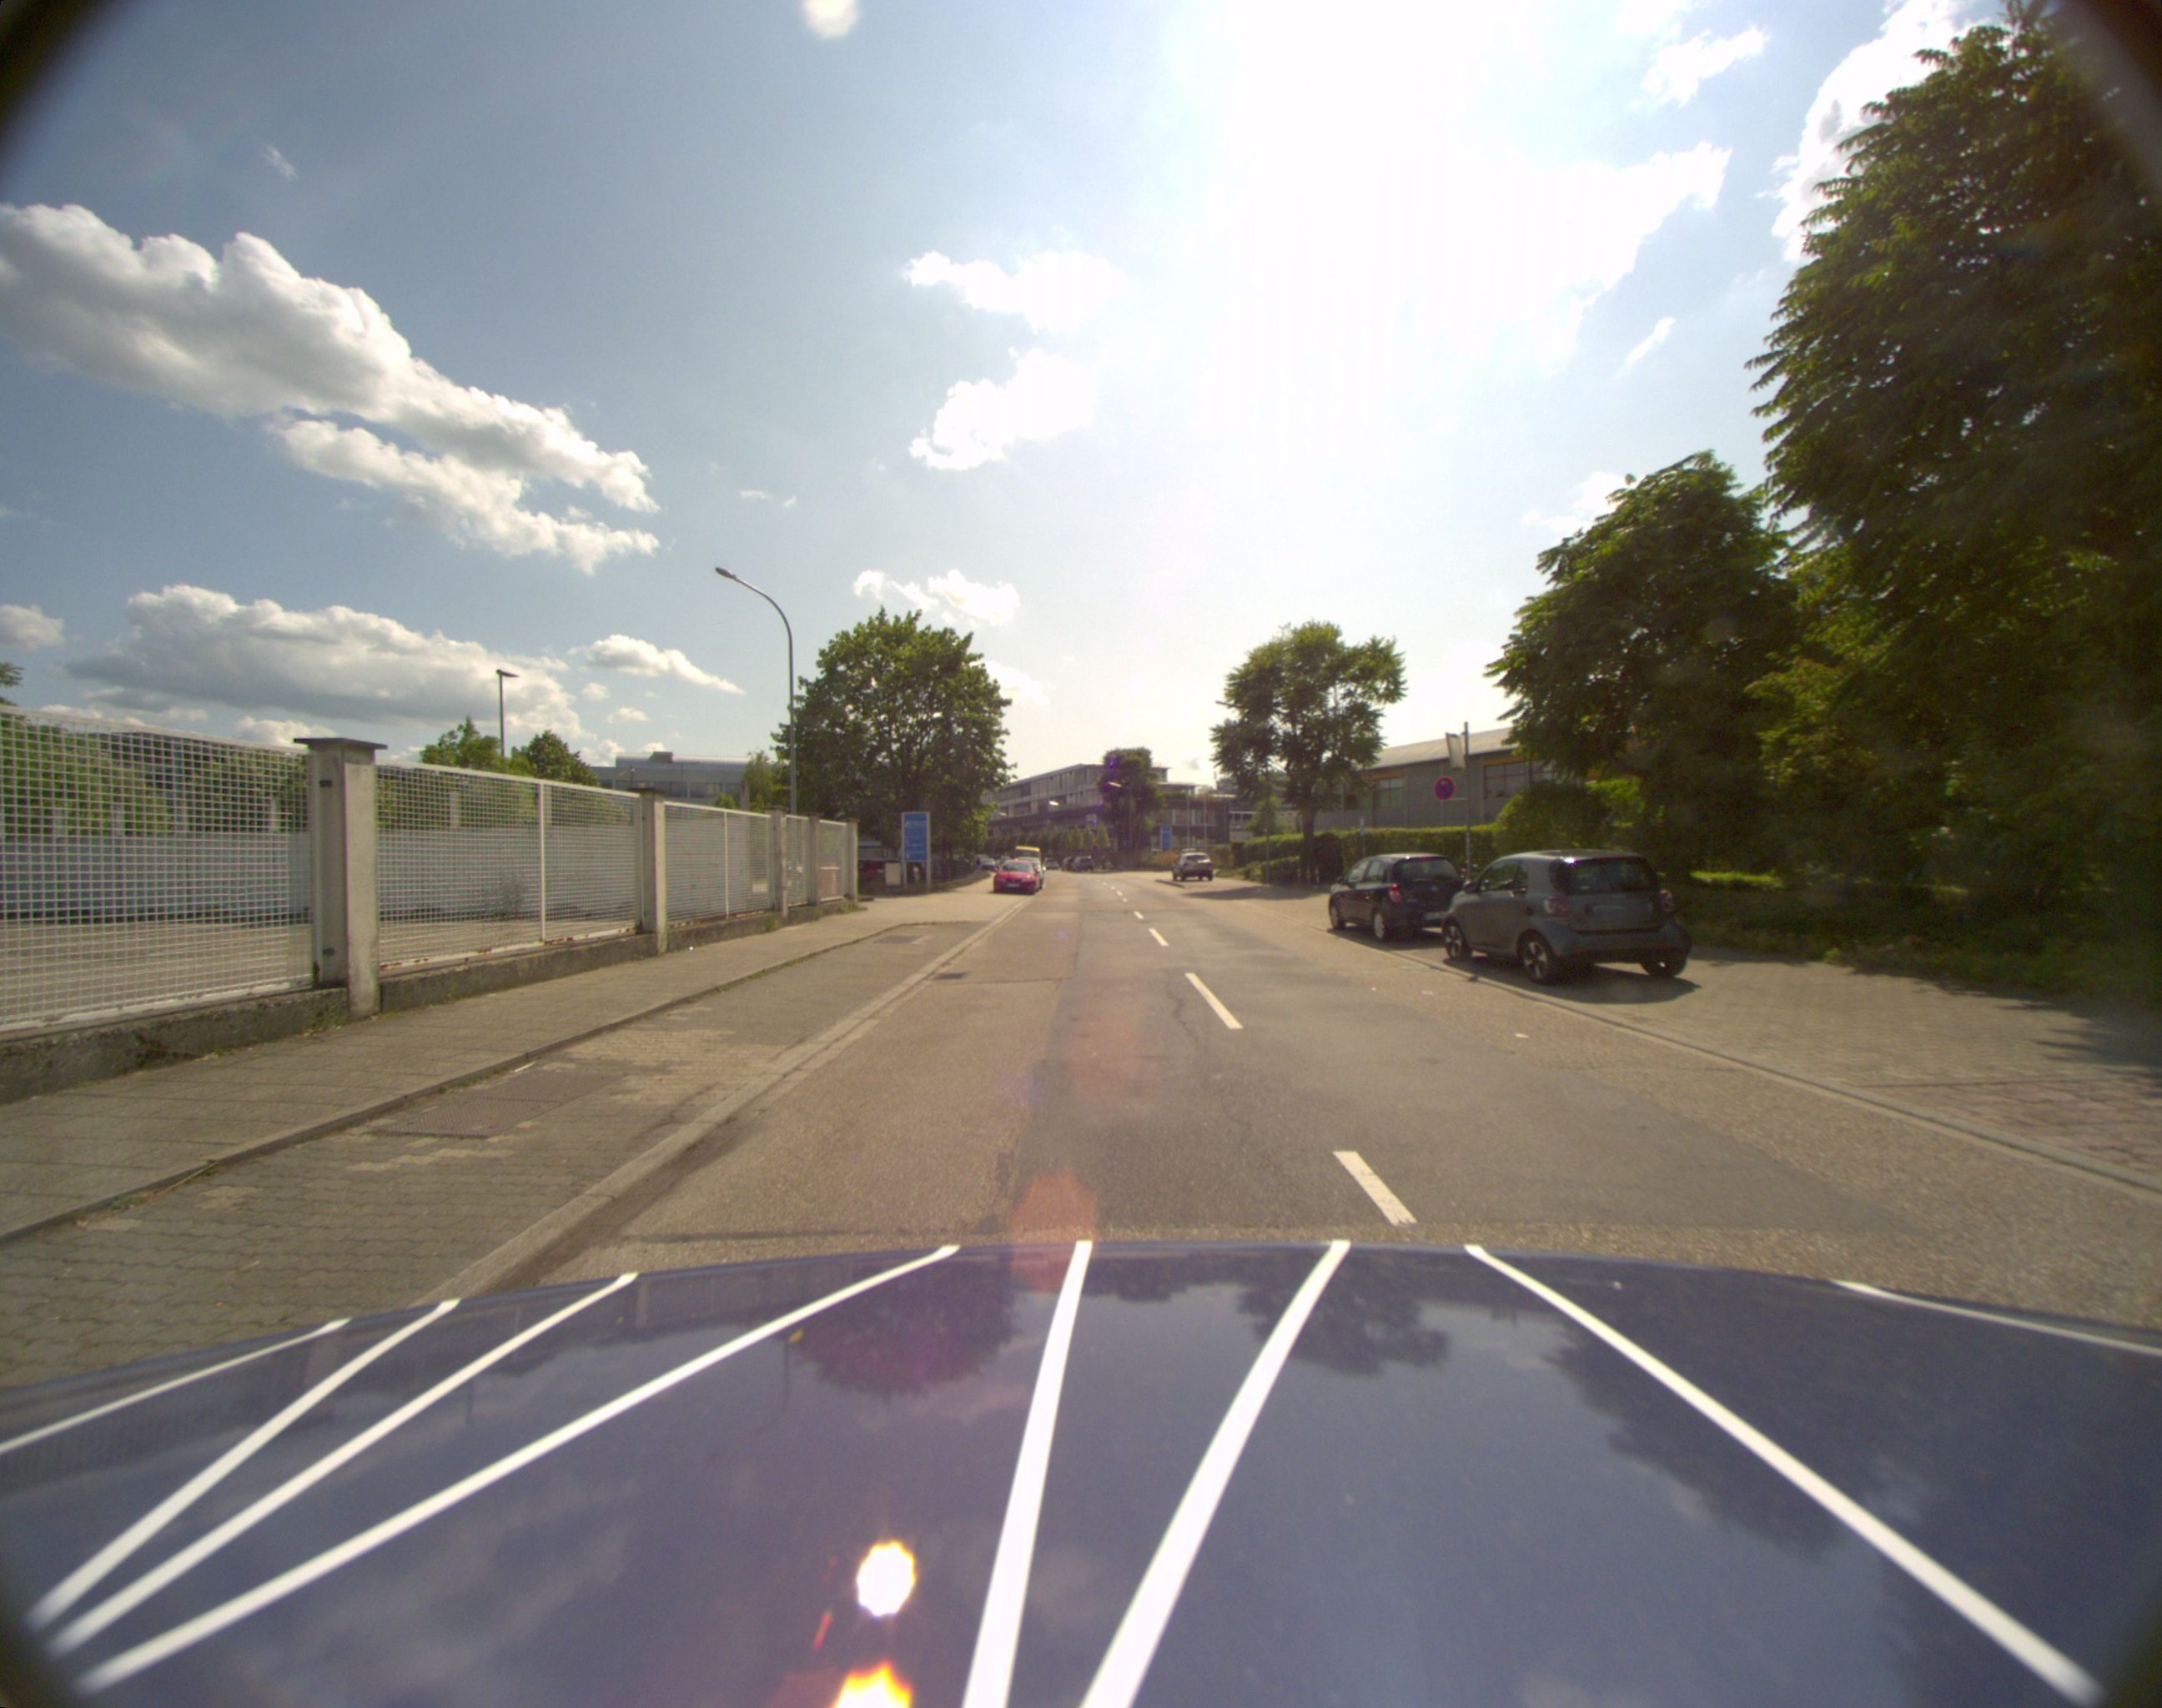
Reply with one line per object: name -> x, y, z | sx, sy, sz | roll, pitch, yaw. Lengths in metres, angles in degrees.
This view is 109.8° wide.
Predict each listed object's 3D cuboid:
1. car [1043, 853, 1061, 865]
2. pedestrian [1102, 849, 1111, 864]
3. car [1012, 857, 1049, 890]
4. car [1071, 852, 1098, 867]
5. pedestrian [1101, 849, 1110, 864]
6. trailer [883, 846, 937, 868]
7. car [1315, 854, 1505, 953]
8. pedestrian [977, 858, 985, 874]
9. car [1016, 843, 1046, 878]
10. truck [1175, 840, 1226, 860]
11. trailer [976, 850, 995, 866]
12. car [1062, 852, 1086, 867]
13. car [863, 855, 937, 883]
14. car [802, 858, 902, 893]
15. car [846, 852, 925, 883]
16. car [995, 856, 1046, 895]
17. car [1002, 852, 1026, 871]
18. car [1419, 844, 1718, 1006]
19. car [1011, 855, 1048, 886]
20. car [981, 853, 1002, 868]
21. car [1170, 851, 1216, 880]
car -> -3.836, 0.712, 100.455 | 1.615, 1.514, 3.069 | -2, 0, -18
pedestrian -> 2.846, 0.284, 84.645 | 0.845, 1.682, 0.830 | -3, 1, -8
car -> -2.596, 0.955, 38.558 | 1.705, 1.478, 3.805 | 3, 0, -5
car -> 0.343, 0.581, 85.100 | 1.805, 1.641, 4.683 | -2, 1, -14
pedestrian -> 2.800, 0.273, 85.776 | 0.831, 1.751, 0.844 | -3, 1, -8
trailer -> -16.851, 0.290, 75.023 | 5.065, 2.070, 2.059 | -1, 1, -13
car -> 6.030, 0.819, 14.501 | 1.849, 1.499, 4.000 | -4, 0, 1
pedestrian -> -11.167, 1.334, 84.576 | 0.723, 1.683, 0.738 | 3, -1, -14
car -> -3.870, 0.447, 57.698 | 2.163, 2.450, 6.635 | 0, 0, -5
truck -> 16.666, -0.564, 105.907 | 6.943, 2.642, 2.400 | -1, 0, -25
trailer -> -12.341, 0.529, 97.987 | 1.753, 2.055, 3.941 | 2, -1, -17
car -> -0.828, 0.604, 90.405 | 1.782, 1.673, 4.225 | -3, 1, -14
car -> -10.660, 0.872, 44.935 | 3.884, 1.584, 1.910 | 0, 1, 1
car -> -11.021, 1.015, 36.790 | 4.219, 1.584, 1.910 | 0, 1, 1
car -> -10.824, 0.719, 42.308 | 3.884, 1.628, 1.910 | 0, 1, 1
car -> -2.579, 0.881, 33.248 | 1.758, 1.478, 4.224 | 3, 0, 1
car -> -6.755, 0.723, 75.815 | 1.856, 1.755, 5.072 | 1, 0, -11
car -> 5.996, 0.764, 9.837 | 1.655, 1.636, 3.273 | -4, 0, -1
car -> -2.941, 0.911, 44.168 | 1.837, 1.599, 4.567 | 3, 0, -1
car -> -11.081, 0.779, 93.818 | 1.868, 1.672, 4.703 | 1, 0, -16
car -> 6.470, 0.622, 44.355 | 1.762, 1.565, 4.475 | -2, 1, -3
